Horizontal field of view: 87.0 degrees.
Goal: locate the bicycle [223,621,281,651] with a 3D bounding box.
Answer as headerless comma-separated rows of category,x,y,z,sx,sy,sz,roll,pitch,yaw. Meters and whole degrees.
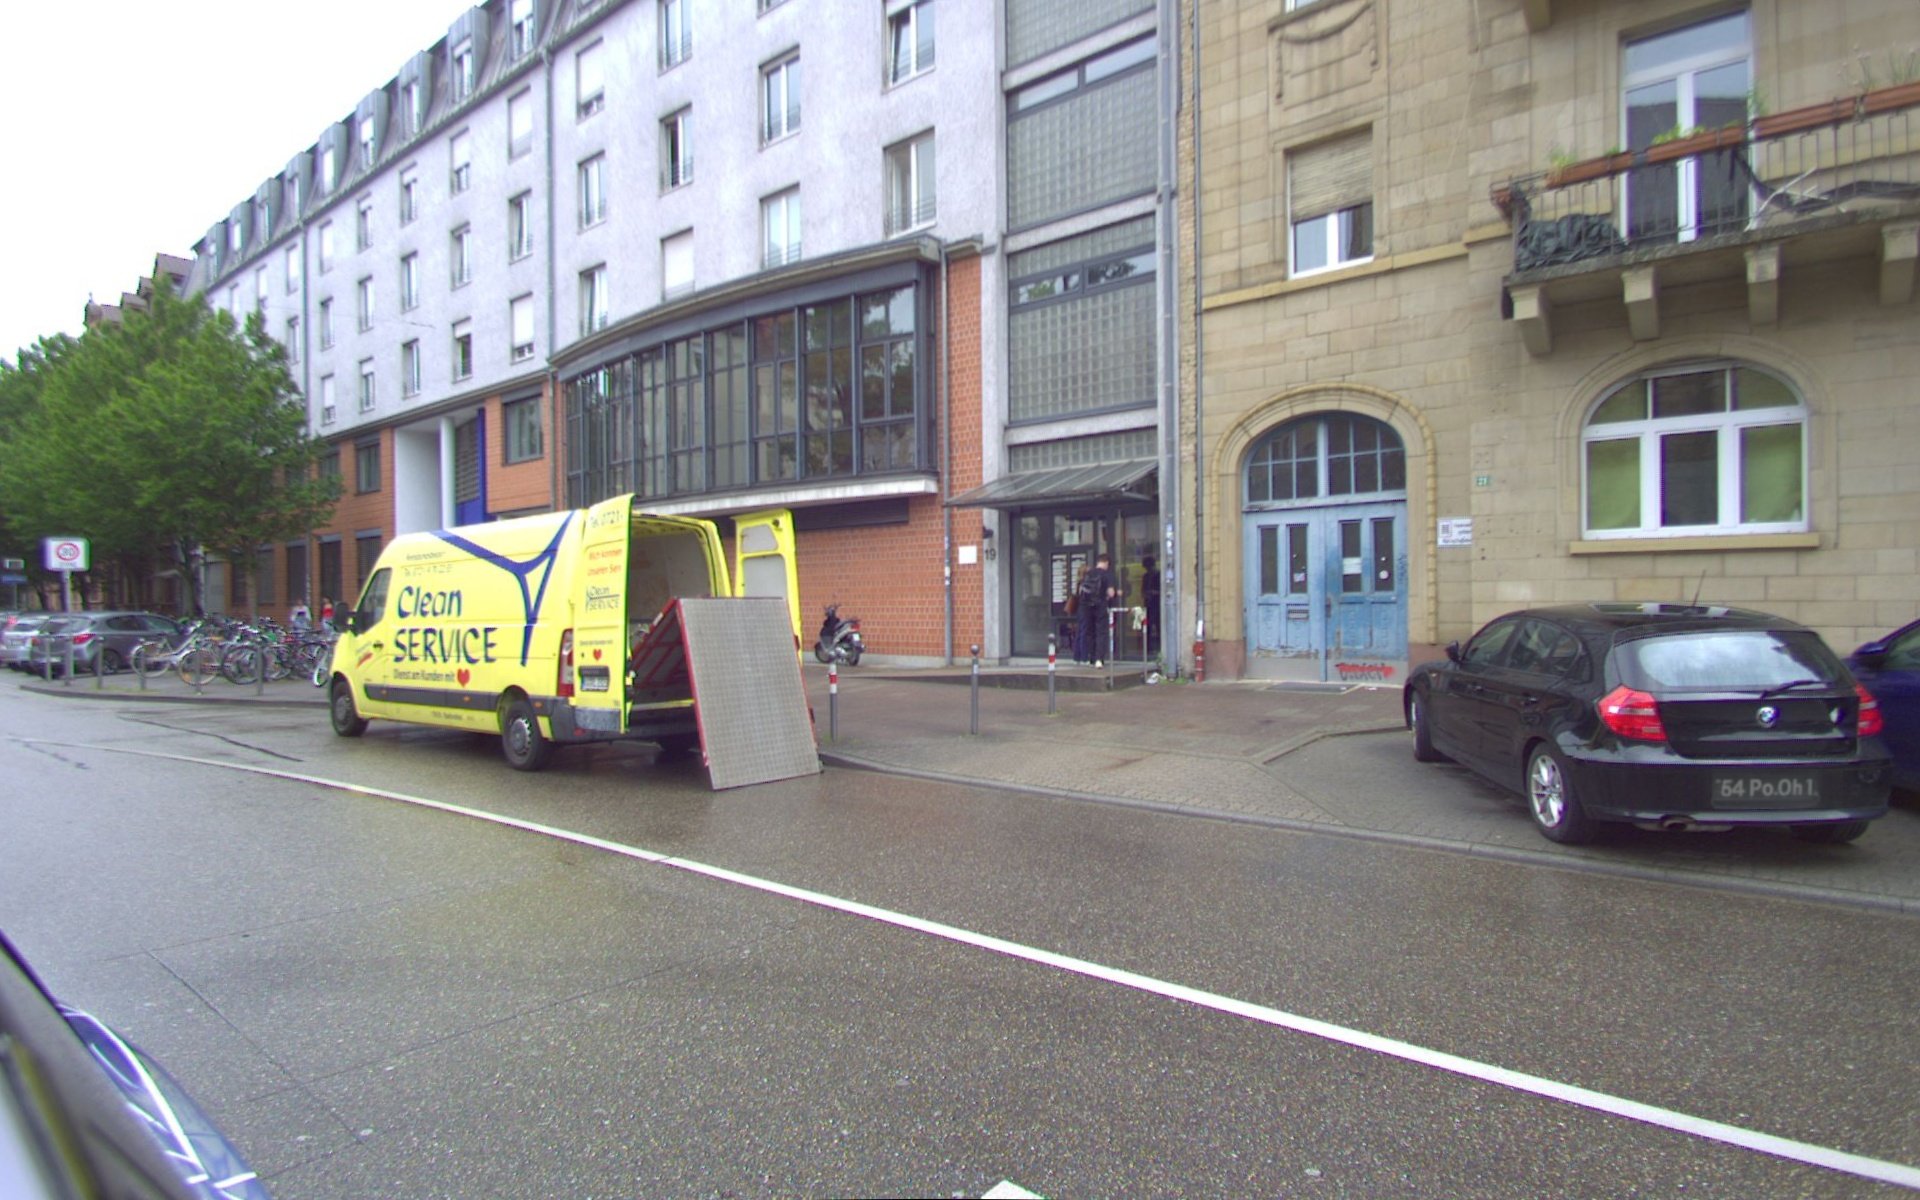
bicycle,-23.938,1.211,34.235,0.444,0.992,1.573,-1,-1,32

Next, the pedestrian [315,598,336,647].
pedestrian,-21.426,0.757,34.152,0.425,1.622,0.508,-1,-1,41

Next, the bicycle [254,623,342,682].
bicycle,-13.368,1.043,20.456,1.439,1.111,0.462,-2,1,-36

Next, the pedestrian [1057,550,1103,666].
pedestrian,1.862,0.123,15.744,0.467,1.761,0.608,0,-1,-24

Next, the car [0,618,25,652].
car,-43.600,1.562,44.619,1.662,1.502,3.799,0,-1,-10

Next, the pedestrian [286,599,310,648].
pedestrian,-22.243,0.795,34.026,0.372,1.622,0.598,-1,-1,39

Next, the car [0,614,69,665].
car,-29.168,1.208,31.191,1.177,1.461,2.502,-1,0,0

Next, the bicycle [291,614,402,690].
bicycle,-11.309,0.921,18.743,0.760,1.225,1.917,0,3,5

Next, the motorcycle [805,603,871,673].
motorcycle,-2.244,0.667,18.409,0.516,1.190,1.763,-1,0,-30

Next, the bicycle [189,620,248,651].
bicycle,-25.379,1.203,34.649,0.444,0.992,1.573,-1,-1,32

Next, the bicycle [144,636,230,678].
bicycle,-17.219,1.263,22.560,0.497,0.811,1.454,-1,1,43

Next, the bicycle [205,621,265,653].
bicycle,-23.921,1.202,33.409,0.444,0.992,1.573,-1,-1,32

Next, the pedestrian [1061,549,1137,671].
pedestrian,2.087,0.150,15.138,0.785,1.741,0.998,-1,-1,31

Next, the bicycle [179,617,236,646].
bicycle,-26.675,1.094,35.886,0.464,0.992,1.573,-1,-1,32

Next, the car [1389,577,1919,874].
car,4.654,0.670,7.257,1.777,1.523,4.036,0,-1,6

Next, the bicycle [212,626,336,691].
bicycle,-12.881,1.072,19.042,1.832,1.081,0.610,-2,1,-45

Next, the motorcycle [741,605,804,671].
motorcycle,-3.617,0.697,19.386,0.516,1.190,2.010,-1,0,-30

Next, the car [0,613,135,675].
car,-24.344,1.146,27.431,1.432,1.514,3.078,-1,0,0

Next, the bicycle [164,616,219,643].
bicycle,-28.933,1.104,38.124,0.464,0.992,1.573,-1,-1,32

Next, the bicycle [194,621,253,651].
bicycle,-24.805,1.203,34.102,0.444,0.992,1.573,-1,-1,32

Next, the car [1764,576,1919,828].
car,6.832,0.633,5.805,1.780,1.585,4.029,-1,-1,11

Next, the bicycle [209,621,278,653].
bicycle,-23.480,1.202,33.198,0.444,0.992,1.831,-1,-1,32

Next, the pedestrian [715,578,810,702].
pedestrian,-2.908,0.563,14.881,1.171,1.741,0.777,-1,0,39

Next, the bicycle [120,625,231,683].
bicycle,-16.681,1.128,21.566,0.472,1.114,1.791,-1,1,35

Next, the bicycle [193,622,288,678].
bicycle,-15.632,1.072,22.031,0.519,1.114,1.591,-1,1,35

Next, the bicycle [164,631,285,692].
bicycle,-13.883,1.136,19.147,0.519,1.000,1.778,-1,1,38

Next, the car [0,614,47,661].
car,-33.150,1.312,34.631,1.138,1.567,2.672,-1,0,11

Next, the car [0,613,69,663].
car,-31.041,1.237,32.859,1.358,1.567,2.971,-1,0,11

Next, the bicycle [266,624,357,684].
bicycle,-12.769,1.049,19.964,0.418,1.072,1.442,-1,1,44

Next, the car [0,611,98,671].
car,-26.761,1.148,29.035,1.432,1.564,3.078,-1,0,0

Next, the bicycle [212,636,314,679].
bicycle,-14.594,1.187,21.237,0.455,0.767,1.757,-1,1,27

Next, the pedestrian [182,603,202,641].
pedestrian,-32.565,0.919,42.918,0.533,1.609,0.564,-1,-1,41

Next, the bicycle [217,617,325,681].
bicycle,-14.156,0.981,20.851,0.517,1.203,1.798,-1,1,27

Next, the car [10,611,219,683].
car,-19.944,1.051,24.071,1.720,1.514,3.614,0,0,9

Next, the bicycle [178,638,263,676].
bicycle,-16.444,1.256,22.522,0.497,0.727,1.454,0,1,43

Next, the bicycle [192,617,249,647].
bicycle,-25.717,1.093,35.216,0.444,0.992,1.573,-1,-1,32

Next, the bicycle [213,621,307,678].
bicycle,-15.027,1.032,21.752,0.517,1.114,1.596,-1,1,27

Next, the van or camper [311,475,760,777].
van or camper,-5.063,0.278,11.547,5.935,2.631,2.174,-1,-2,39

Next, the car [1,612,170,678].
car,-22.243,1.107,25.879,1.436,1.514,3.070,-1,0,9

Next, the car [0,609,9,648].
car,-48.816,1.395,48.904,1.666,1.910,4.330,0,-1,-1
